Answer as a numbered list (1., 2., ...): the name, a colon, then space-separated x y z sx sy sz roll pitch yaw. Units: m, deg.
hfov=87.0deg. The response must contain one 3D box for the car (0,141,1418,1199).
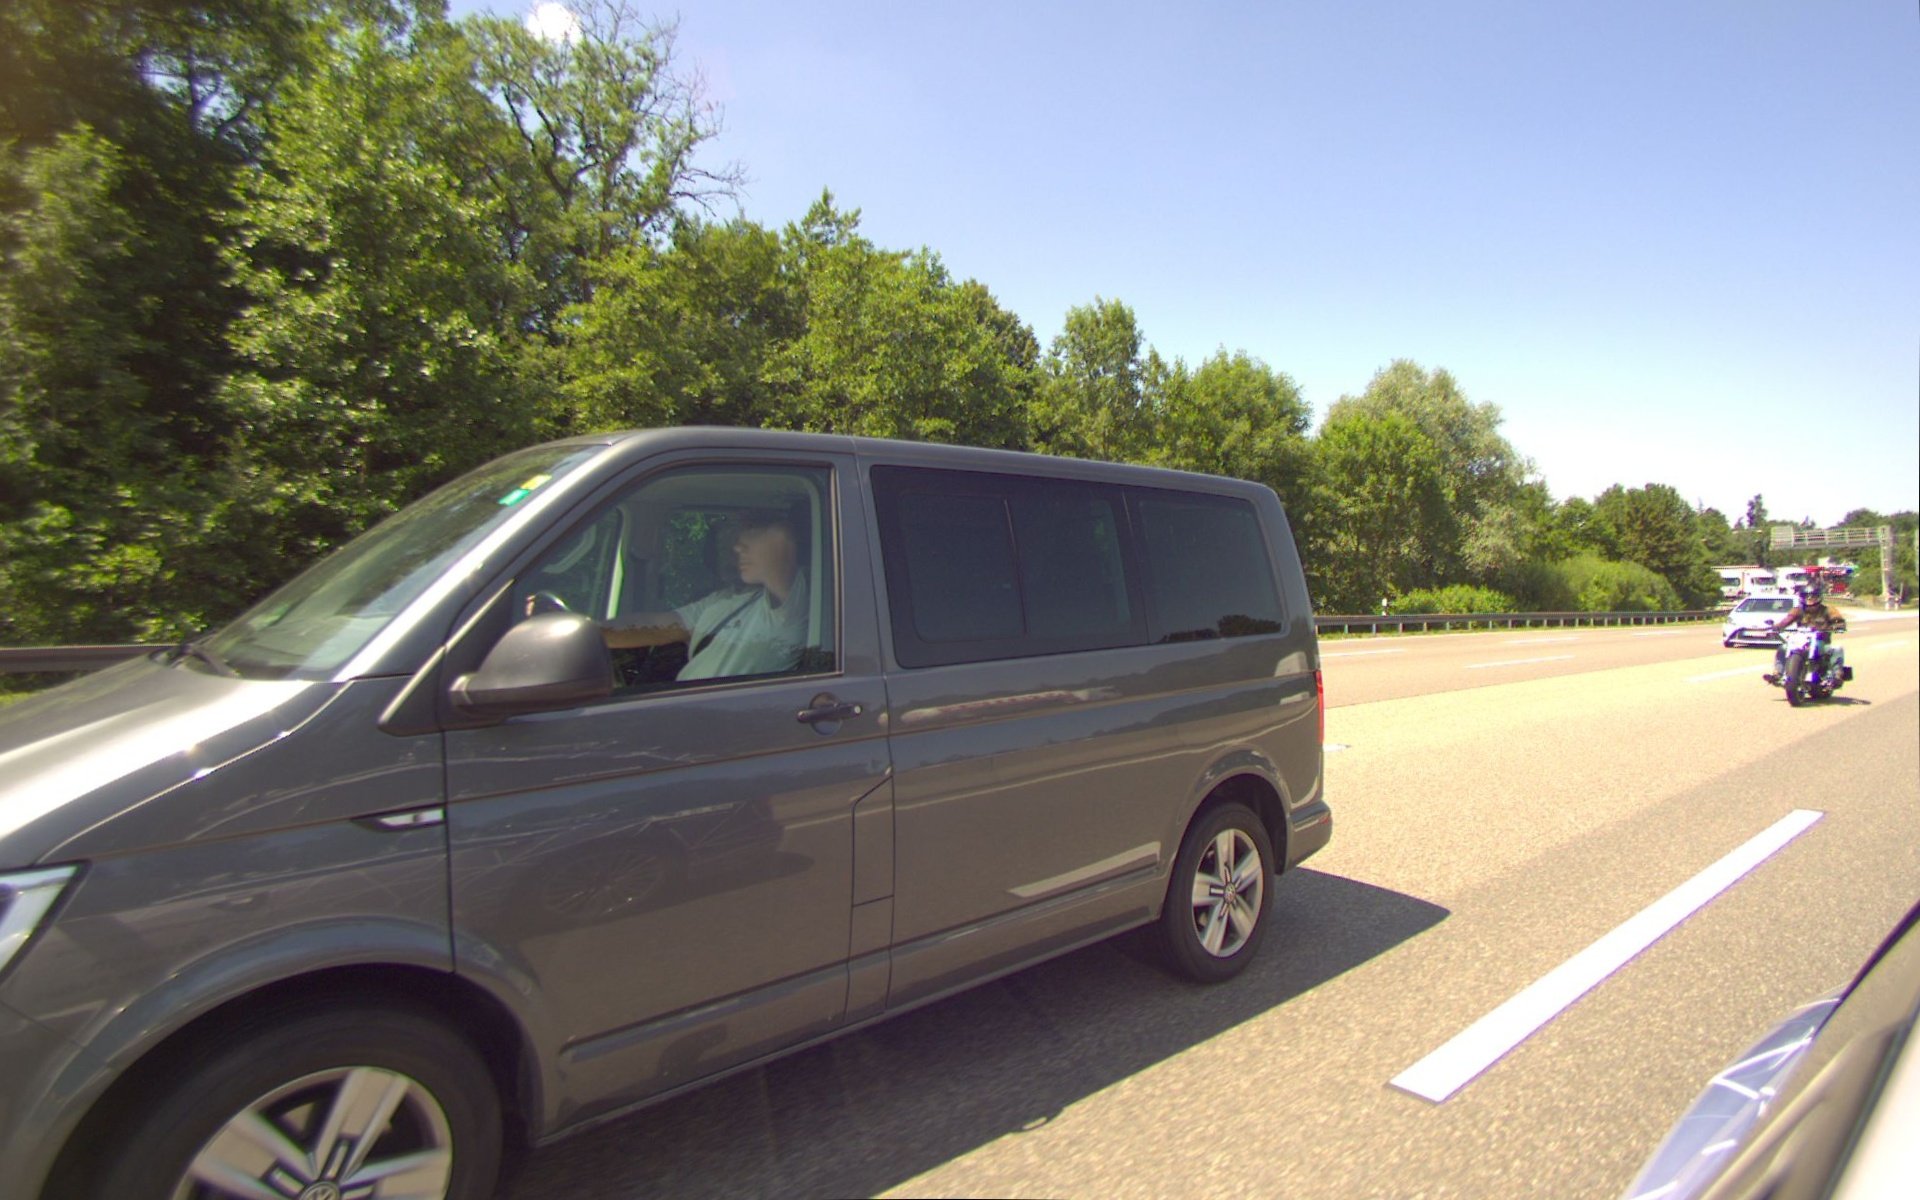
1. car: -0.427 0.309 3.739 4.994 2.059 1.966 0 1 -41

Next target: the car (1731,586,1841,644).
1. car: 23.614 0.373 28.870 4.406 1.538 1.753 0 1 -41

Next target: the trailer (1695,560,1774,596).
1. trailer: 108.547 -3.137 142.195 3.227 4.766 12.031 -2 1 9

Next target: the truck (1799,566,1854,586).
1. truck: 133.028 -3.689 155.507 1.967 2.986 8.728 -2 1 9

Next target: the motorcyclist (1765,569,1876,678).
1. motorcyclist: 11.990 0.299 14.111 1.002 1.445 0.857 -1 1 -27

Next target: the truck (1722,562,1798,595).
1. truck: 116.555 -3.179 147.784 2.783 4.515 12.040 -2 1 7

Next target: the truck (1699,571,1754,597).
1. truck: 100.581 -2.152 132.986 2.418 3.163 8.990 -2 1 14

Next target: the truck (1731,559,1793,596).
1. truck: 107.585 -3.007 135.919 3.213 4.783 7.172 -2 1 9

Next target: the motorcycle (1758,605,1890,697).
1. motorcycle: 12.087 0.680 14.136 2.387 1.150 0.538 -1 1 -27

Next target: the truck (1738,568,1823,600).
1. truck: 122.268 -2.326 151.209 2.784 4.516 14.606 0 1 9
